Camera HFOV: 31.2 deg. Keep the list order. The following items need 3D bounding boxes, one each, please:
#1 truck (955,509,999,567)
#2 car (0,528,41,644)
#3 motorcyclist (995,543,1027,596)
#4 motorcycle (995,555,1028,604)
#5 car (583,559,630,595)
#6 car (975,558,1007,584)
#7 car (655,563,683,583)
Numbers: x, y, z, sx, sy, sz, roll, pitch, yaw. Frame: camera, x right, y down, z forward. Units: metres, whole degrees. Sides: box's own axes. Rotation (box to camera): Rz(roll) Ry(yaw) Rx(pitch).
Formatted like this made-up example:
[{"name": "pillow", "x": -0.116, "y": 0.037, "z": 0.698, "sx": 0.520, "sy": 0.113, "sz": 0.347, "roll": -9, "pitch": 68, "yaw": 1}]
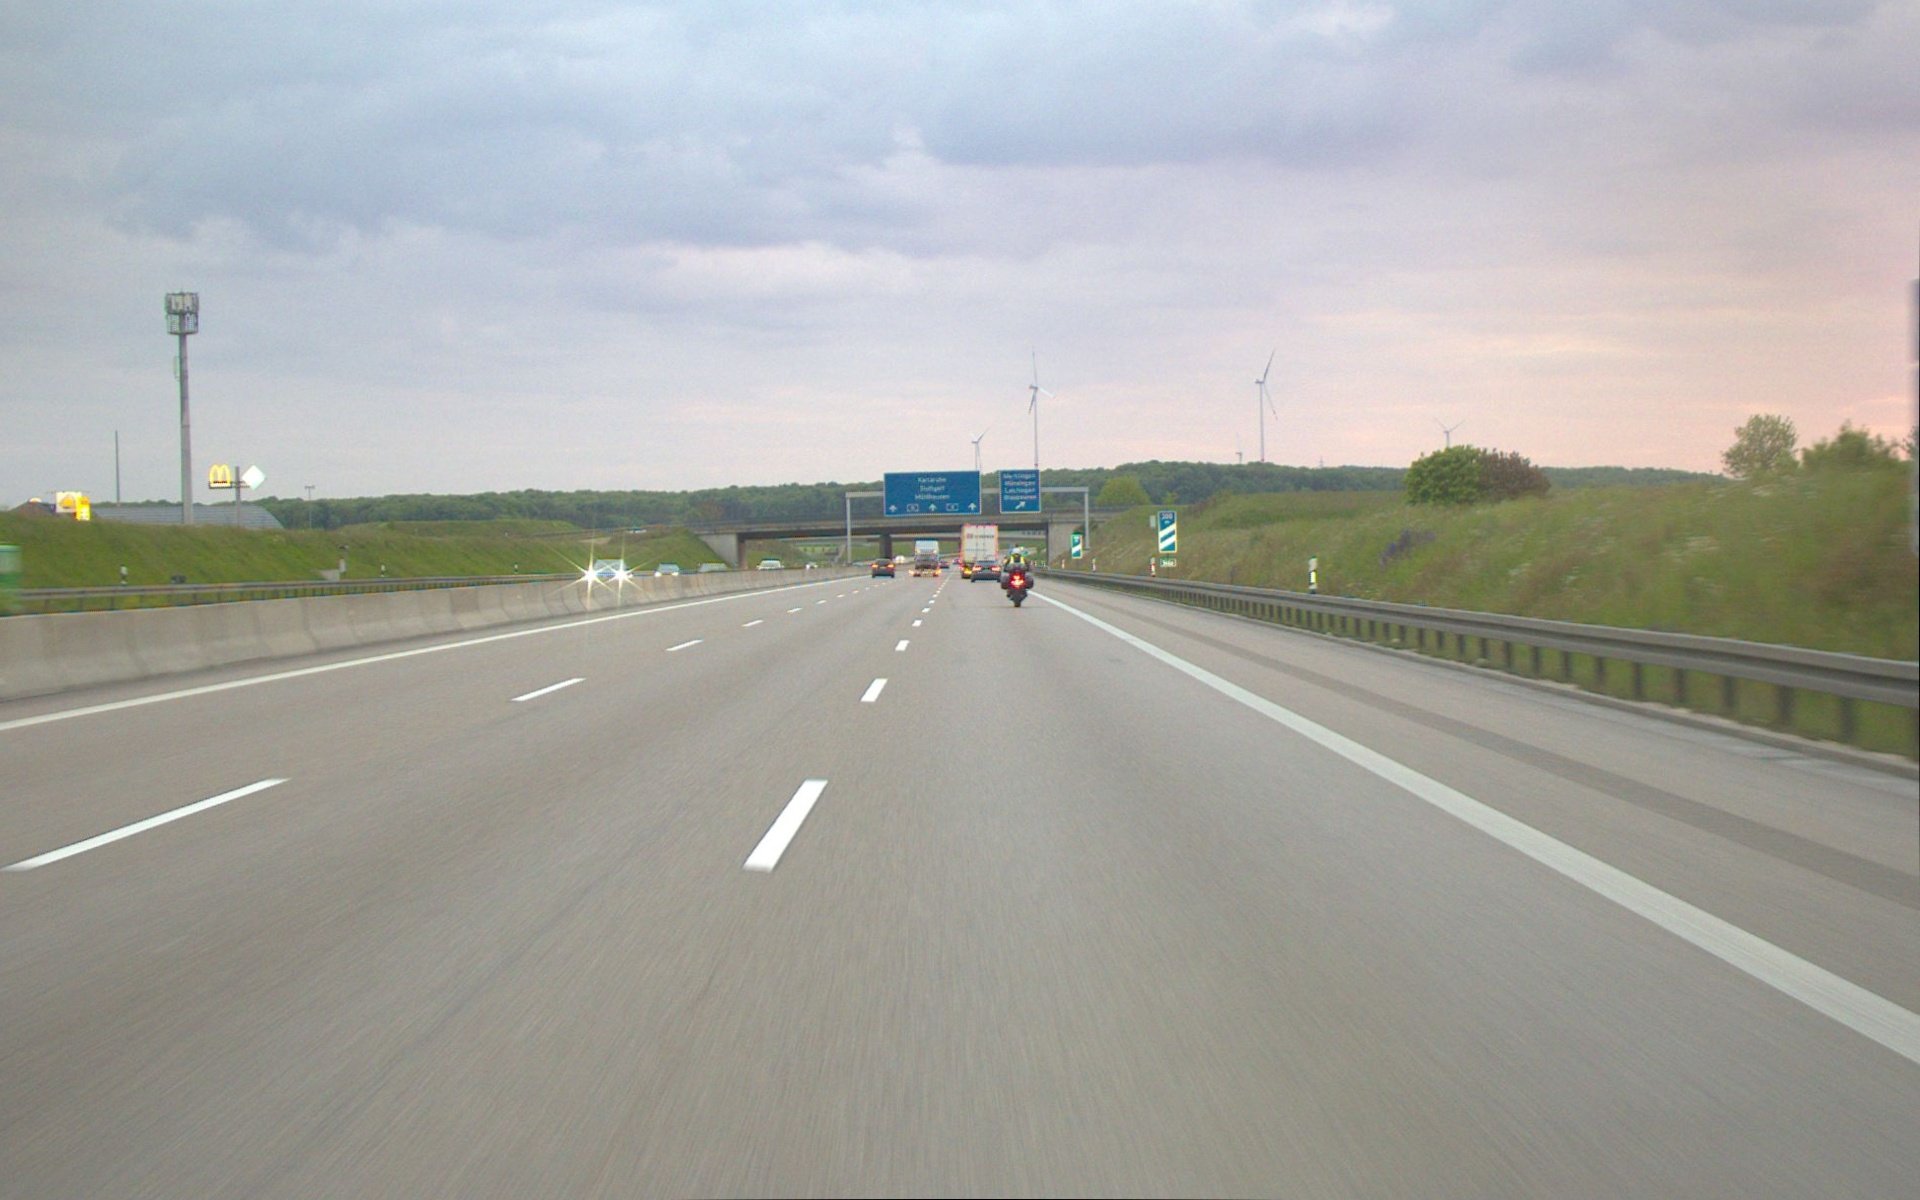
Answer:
[{"name": "truck", "x": 1.279, "y": -4.649, "z": 257.981, "sx": 3.234, "sy": 4.213, "sz": 9.599, "roll": 1, "pitch": 1, "yaw": 0}, {"name": "car", "x": -17.567, "y": -0.226, "z": 59.137, "sx": 2.003, "sy": 2.007, "sz": 5.737, "roll": 0, "pitch": 1, "yaw": 0}, {"name": "motorcyclist", "x": 1.456, "y": -0.877, "z": 97.269, "sx": 0.866, "sy": 1.482, "sz": 1.168, "roll": 1, "pitch": 1, "yaw": 2}, {"name": "motorcycle", "x": 1.447, "y": -0.580, "z": 97.479, "sx": 0.902, "sy": 1.342, "sz": 2.349, "roll": 0, "pitch": 2, "yaw": 0}, {"name": "car", "x": -18.345, "y": -1.205, "z": 178.493, "sx": 2.099, "sy": 1.804, "sz": 5.022, "roll": -1, "pitch": 1, "yaw": -2}, {"name": "car", "x": 1.929, "y": -1.805, "z": 214.641, "sx": 1.918, "sy": 1.574, "sz": 4.000, "roll": 0, "pitch": 1, "yaw": -1}, {"name": "car", "x": -21.450, "y": -1.991, "z": 253.300, "sx": 1.738, "sy": 1.388, "sz": 4.343, "roll": 0, "pitch": 1, "yaw": -1}]
